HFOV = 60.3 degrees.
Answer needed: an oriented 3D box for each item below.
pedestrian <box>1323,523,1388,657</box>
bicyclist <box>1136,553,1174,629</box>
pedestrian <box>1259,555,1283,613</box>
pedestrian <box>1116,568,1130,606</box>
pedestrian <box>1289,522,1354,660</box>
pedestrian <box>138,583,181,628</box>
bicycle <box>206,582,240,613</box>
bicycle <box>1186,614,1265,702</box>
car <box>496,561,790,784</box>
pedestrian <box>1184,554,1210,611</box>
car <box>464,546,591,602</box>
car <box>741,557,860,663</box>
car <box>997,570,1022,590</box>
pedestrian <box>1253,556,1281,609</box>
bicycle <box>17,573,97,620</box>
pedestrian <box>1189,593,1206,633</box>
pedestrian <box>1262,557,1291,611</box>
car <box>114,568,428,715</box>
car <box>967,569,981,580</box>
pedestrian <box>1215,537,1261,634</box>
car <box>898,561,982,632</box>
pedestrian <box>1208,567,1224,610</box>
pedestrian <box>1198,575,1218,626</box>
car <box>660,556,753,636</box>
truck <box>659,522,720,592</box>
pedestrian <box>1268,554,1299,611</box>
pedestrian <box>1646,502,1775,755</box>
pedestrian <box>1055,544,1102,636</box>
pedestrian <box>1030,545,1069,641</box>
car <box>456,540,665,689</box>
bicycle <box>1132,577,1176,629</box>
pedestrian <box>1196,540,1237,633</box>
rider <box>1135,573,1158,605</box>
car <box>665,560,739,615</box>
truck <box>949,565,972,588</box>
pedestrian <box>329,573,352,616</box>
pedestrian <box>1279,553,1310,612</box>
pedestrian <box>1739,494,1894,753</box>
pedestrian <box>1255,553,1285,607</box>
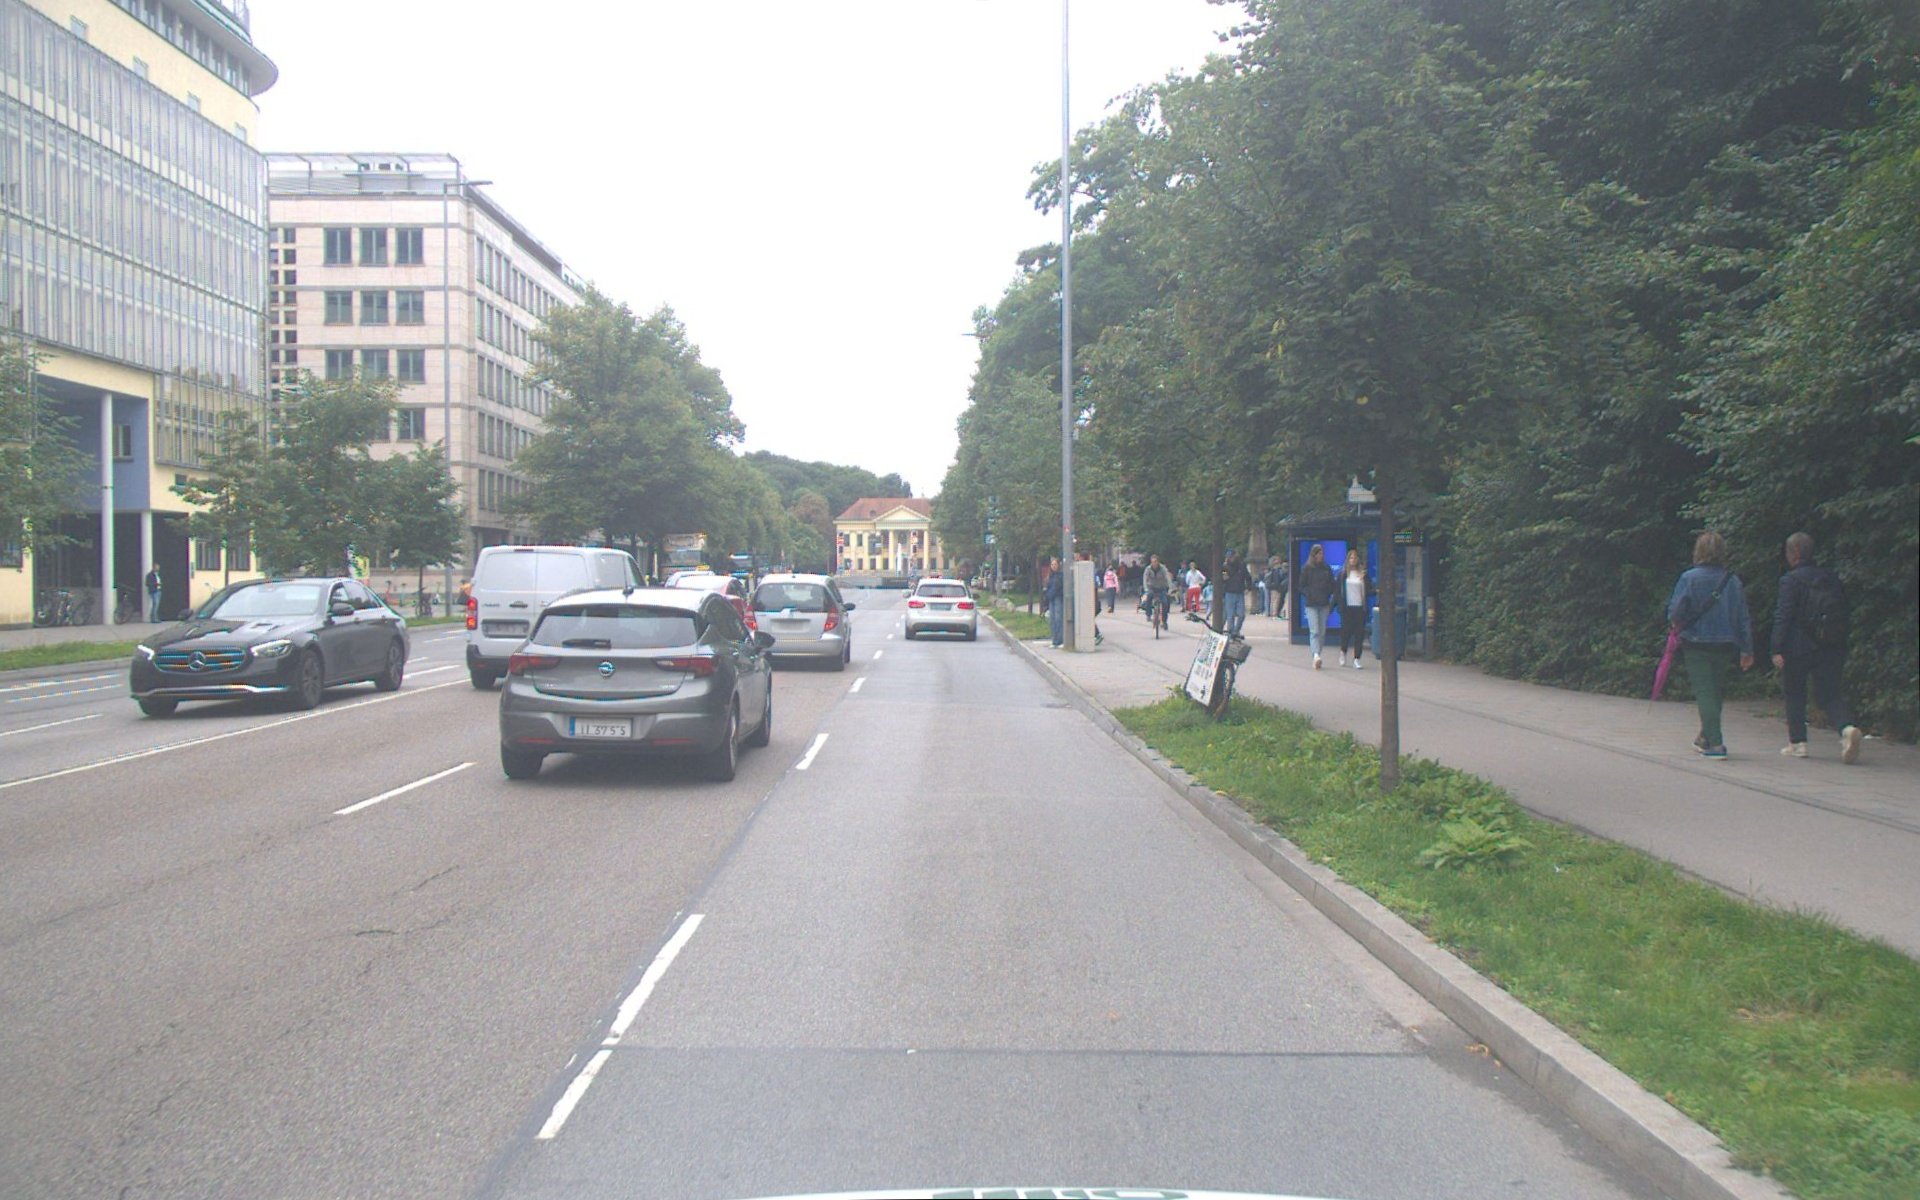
[{"bbox_3d":[5.866,-0.153,24.563,0.693,1.948,0.956,1,1,-1],"label":"pedestrian"},{"bbox_3d":[4.150,-0.202,35.179,0.693,1.589,0.639,1,1,-1],"label":"bicyclist"},{"bbox_3d":[9.387,-0.479,49.926,0.579,1.720,0.729,1,1,1],"label":"pedestrian"},{"bbox_3d":[7.921,-0.627,80.586,0.576,1.854,0.850,1,1,0],"label":"pedestrian"},{"bbox_3d":[5.250,-0.137,24.082,0.693,1.948,0.956,1,1,-1],"label":"pedestrian"},{"bbox_3d":[-25.606,0.157,52.920,0.820,1.388,1.086,-1,1,-1],"label":"pedestrian"},{"bbox_3d":[-25.162,-0.093,56.469,0.561,1.030,1.592,1,1,-4],"label":"bicycle"},{"bbox_3d":[2.726,0.576,17.147,0.483,0.808,1.889,1,1,-1],"label":"bicycle"},{"bbox_3d":[-2.488,0.483,13.892,1.675,1.579,4.000,1,1,0],"label":"car"},{"bbox_3d":[7.213,-0.529,50.399,0.711,1.720,0.648,1,1,4],"label":"pedestrian"},{"bbox_3d":[-20.711,-1.268,79.467,5.569,2.580,2.155,-1,1,-5],"label":"car"},{"bbox_3d":[-2.695,0.114,28.715,1.743,1.683,3.999,1,1,-1],"label":"car"},{"bbox_3d":[3.870,-1.581,129.468,1.790,1.576,4.752,-1,1,0],"label":"car"},{"bbox_3d":[10.111,-0.588,54.526,0.795,1.720,0.729,1,1,1],"label":"pedestrian"},{"bbox_3d":[-26.432,-0.098,48.428,1.969,1.341,0.574,1,1,-7],"label":"bicycle"},{"bbox_3d":[10.234,0.572,71.220,0.618,1.696,0.573,1,1,14],"label":"pedestrian"},{"bbox_3d":[10.078,-0.521,52.750,0.795,1.720,0.729,0,1,1],"label":"pedestrian"},{"bbox_3d":[-7.966,0.388,19.671,1.731,1.448,4.747,-2,1,0],"label":"car"},{"bbox_3d":[1.802,-3.350,214.391,1.689,1.347,4.028,-1,2,0],"label":"car"},{"bbox_3d":[5.402,-0.290,32.158,0.693,1.840,0.950,1,1,-1],"label":"pedestrian"},{"bbox_3d":[-0.548,-0.129,41.293,1.745,1.673,3.995,1,1,-6],"label":"car"},{"bbox_3d":[8.003,-0.362,51.715,0.448,1.349,0.648,1,1,4],"label":"pedestrian"},{"bbox_3d":[7.705,0.019,51.388,0.538,1.554,0.648,1,1,4],"label":"pedestrian"},{"bbox_3d":[-5.675,-0.132,37.453,1.744,1.683,3.997,1,1,-4],"label":"car"},{"bbox_3d":[-15.521,-2.479,95.388,2.859,3.840,7.659,1,1,-5],"label":"truck"},{"bbox_3d":[9.959,-0.533,50.990,0.795,1.720,0.729,-1,1,1],"label":"pedestrian"},{"bbox_3d":[5.692,0.206,12.577,0.657,1.871,0.641,1,1,0],"label":"pedestrian"},{"bbox_3d":[2.488,-0.213,34.756,0.790,1.913,0.542,1,1,35],"label":"pedestrian"},{"bbox_3d":[1.750,-0.143,32.476,0.693,1.840,0.639,1,1,-1],"label":"pedestrian"},{"bbox_3d":[-5.504,0.144,23.453,1.860,1.879,4.955,0,1,-1],"label":"car"},{"bbox_3d":[4.117,0.055,35.209,0.661,1.048,2.012,1,1,-1],"label":"bicycle"},{"bbox_3d":[5.183,-0.281,33.433,0.693,1.840,0.639,1,1,-1],"label":"pedestrian"},{"bbox_3d":[6.693,-0.396,59.449,0.749,1.131,1.245,1,1,4],"label":"rider"},{"bbox_3d":[-8.937,-0.481,57.649,1.819,1.779,4.630,-2,1,0],"label":"car"},{"bbox_3d":[0.060,-3.622,251.597,3.258,3.425,8.662,1,1,-1],"label":"truck"},{"bbox_3d":[-26.472,-0.232,70.685,0.668,1.806,0.675,1,1,3],"label":"pedestrian"},{"bbox_3d":[10.155,-0.534,50.192,0.795,1.769,0.729,1,1,1],"label":"pedestrian"},{"bbox_3d":[6.390,0.161,12.379,0.735,1.871,0.756,1,1,0],"label":"pedestrian"},{"bbox_3d":[10.029,-0.645,53.539,0.795,1.720,0.729,-1,1,1],"label":"pedestrian"}]
